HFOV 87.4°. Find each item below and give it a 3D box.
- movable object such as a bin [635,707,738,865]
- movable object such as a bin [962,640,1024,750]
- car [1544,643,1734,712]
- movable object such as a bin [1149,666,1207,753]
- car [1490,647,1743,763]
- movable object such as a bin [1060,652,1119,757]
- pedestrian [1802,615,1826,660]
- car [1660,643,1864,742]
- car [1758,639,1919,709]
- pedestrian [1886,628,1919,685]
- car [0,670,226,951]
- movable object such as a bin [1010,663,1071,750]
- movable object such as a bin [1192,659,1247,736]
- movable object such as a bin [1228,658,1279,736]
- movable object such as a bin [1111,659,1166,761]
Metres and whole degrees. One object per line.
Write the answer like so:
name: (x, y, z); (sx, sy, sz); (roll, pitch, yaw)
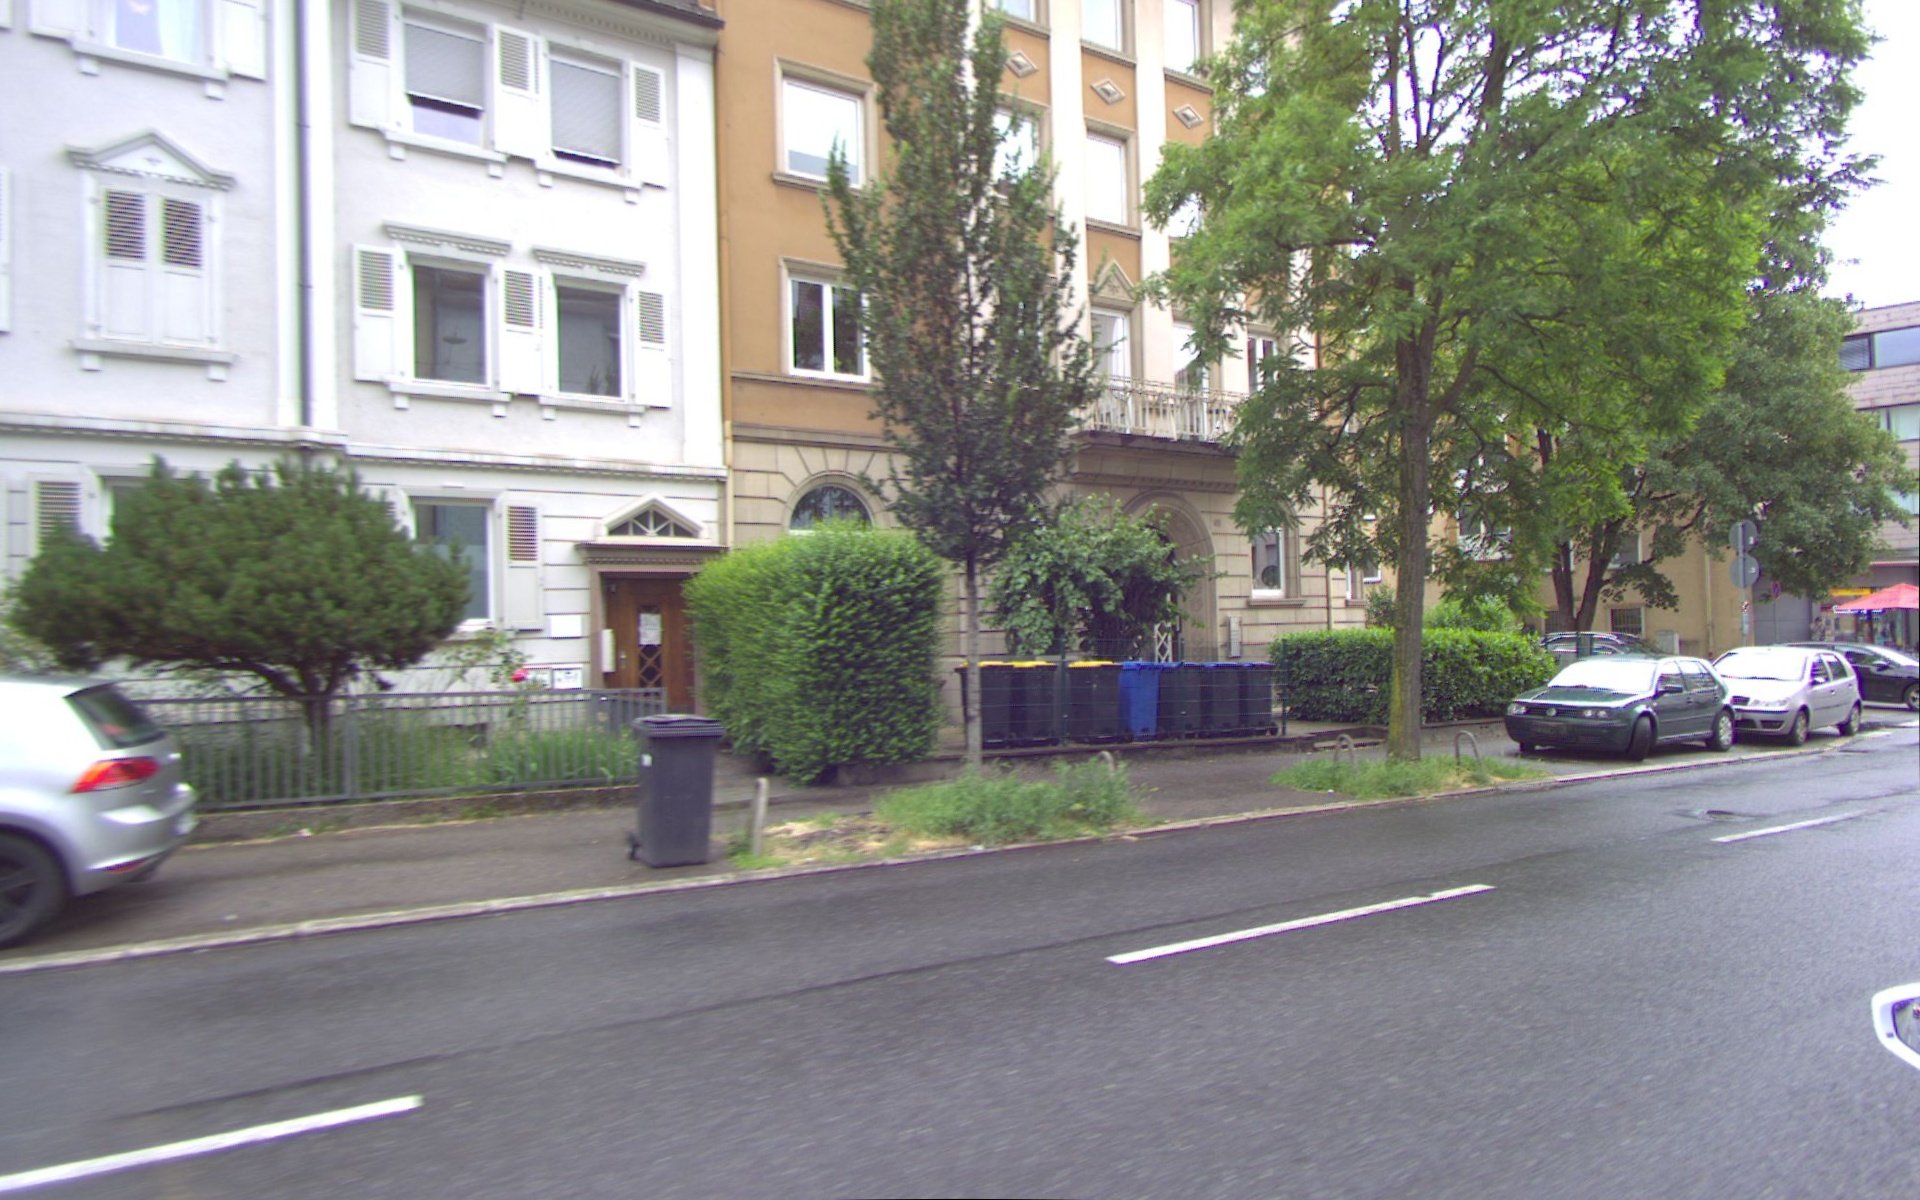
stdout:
movable object such as a bin: (-2.062, 1.365, 7.560); (0.593, 1.072, 0.627); (2, -3, -29)
movable object such as a bin: (0.406, 1.157, 12.447); (0.642, 1.316, 0.437); (1, -2, -31)
car: (17.801, 1.974, 26.498); (1.673, 1.603, 3.792); (-1, -1, -30)
movable object such as a bin: (3.018, 1.501, 13.912); (0.649, 1.145, 0.437); (1, -2, -31)
car: (9.733, 1.449, 14.834); (3.898, 1.473, 1.645); (1, -2, -32)
movable object such as a bin: (1.693, 1.351, 13.146); (0.642, 1.326, 0.437); (1, -2, -31)
pedestrian: (35.344, 1.567, 41.561); (0.624, 1.840, 0.636); (-2, -2, 31)
car: (13.533, 1.473, 16.903); (3.799, 1.473, 1.622); (1, -2, -34)
car: (20.534, 1.633, 22.513); (1.722, 1.408, 3.798); (2, -2, -30)
pedestrian: (29.566, 1.744, 31.210); (0.708, 1.754, 1.053); (0, -1, -39)
car: (-6.469, 1.122, 5.360); (3.888, 1.408, 1.675); (2, -3, -30)
movable object such as a bin: (1.024, 1.329, 12.735); (0.642, 1.053, 0.437); (1, -2, -31)
movable object such as a bin: (3.715, 1.383, 14.371); (0.643, 1.054, 0.424); (1, -2, -31)
movable object such as a bin: (4.292, 1.403, 14.696); (0.583, 1.095, 0.437); (1, -2, -31)
movable object such as a bin: (2.417, 1.475, 13.611); (0.602, 1.326, 0.437); (1, -2, -31)
